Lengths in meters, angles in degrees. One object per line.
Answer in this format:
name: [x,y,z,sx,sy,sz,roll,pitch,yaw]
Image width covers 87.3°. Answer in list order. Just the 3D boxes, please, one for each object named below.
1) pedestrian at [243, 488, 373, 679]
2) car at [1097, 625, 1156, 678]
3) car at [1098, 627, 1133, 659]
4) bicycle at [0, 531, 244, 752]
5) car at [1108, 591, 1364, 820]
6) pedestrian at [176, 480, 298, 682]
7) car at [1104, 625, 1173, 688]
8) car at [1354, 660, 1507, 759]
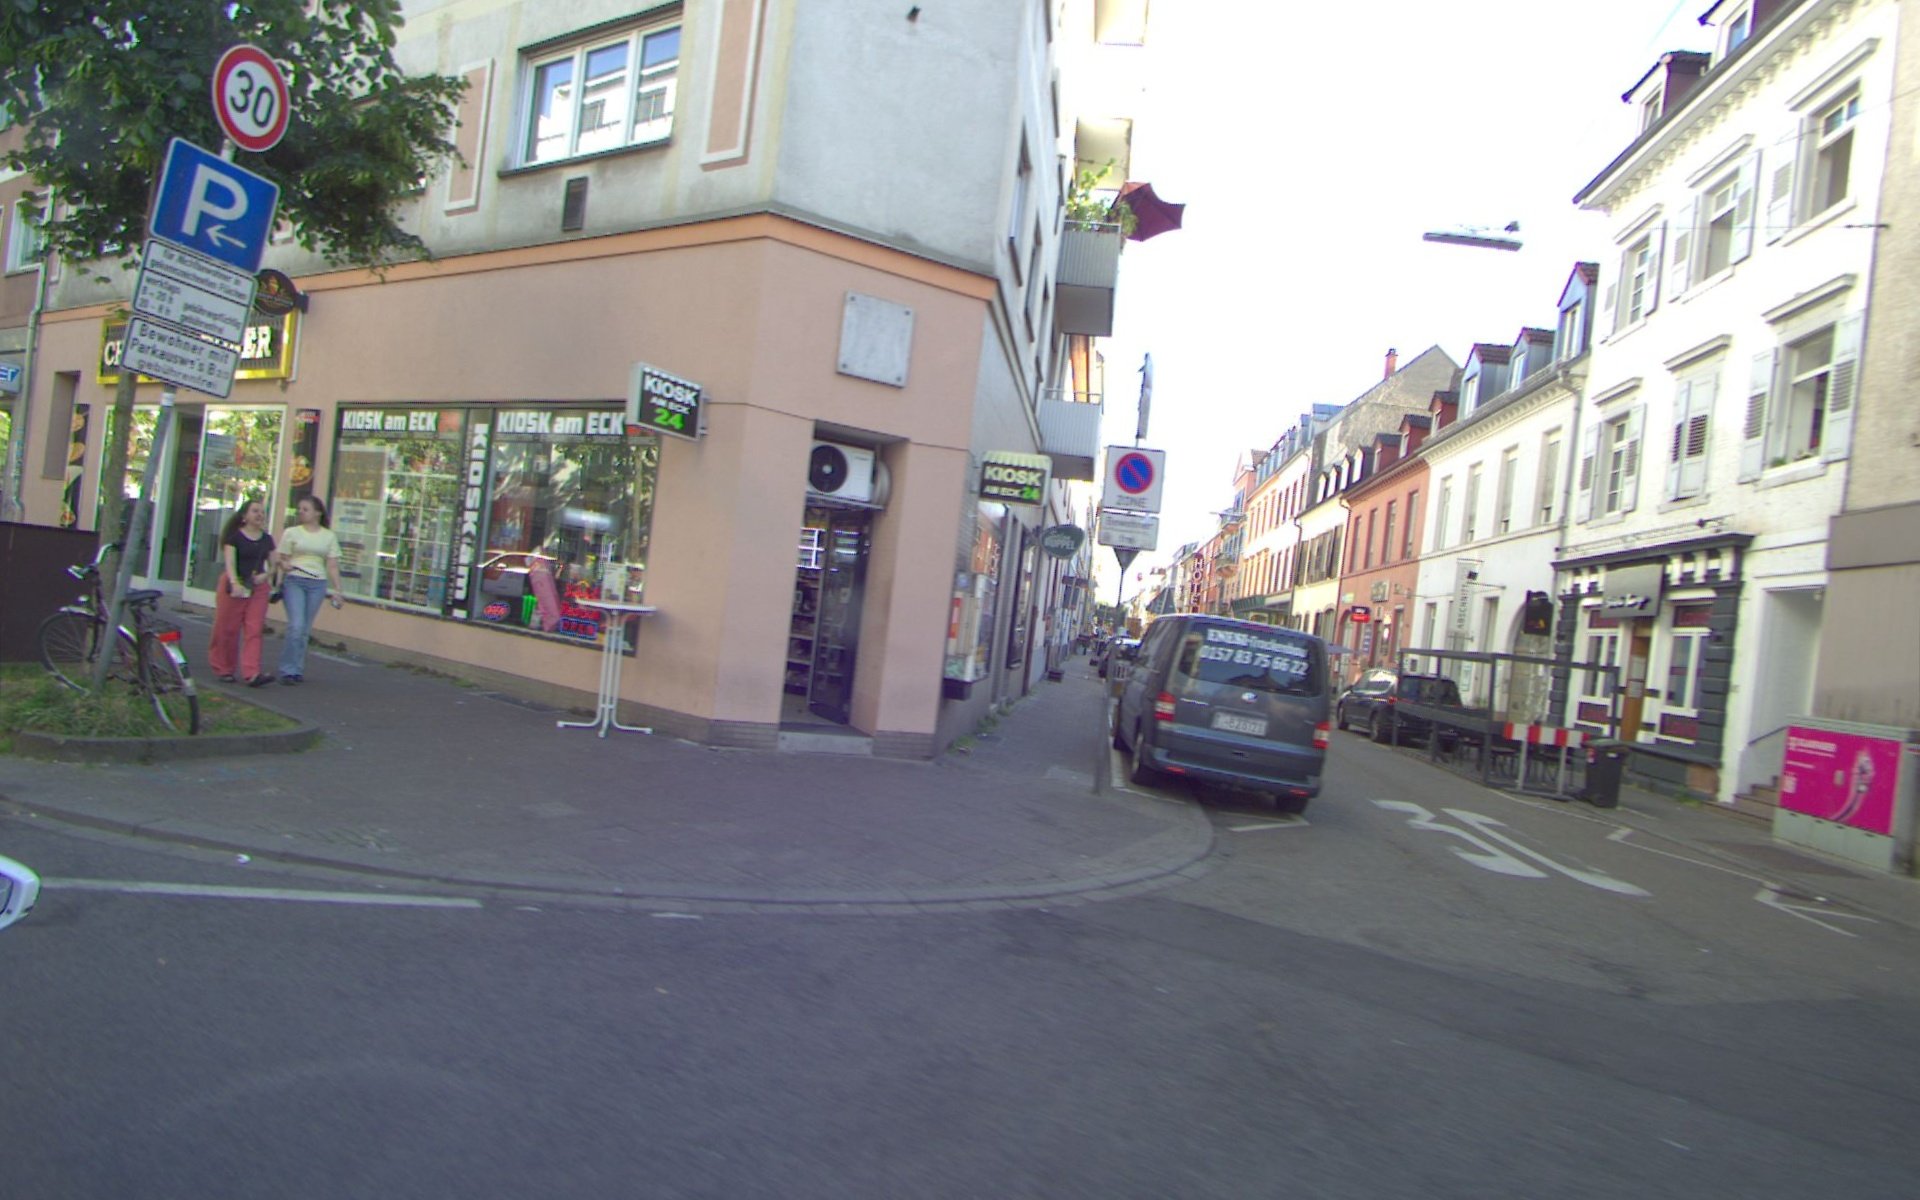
pedestrian: [-6.074,-0.143,9.378,0.736,1.666,0.642,7,2,31]
car: [6.288,1.960,38.222,1.905,1.663,3.826,7,-2,9]
car: [9.747,2.677,63.128,1.905,1.664,3.824,8,0,9]
bicycle: [-5.639,0.228,6.721,2.109,1.178,0.508,7,0,31]
car: [2.989,1.066,11.976,1.905,1.940,4.496,8,0,5]
pedestrian: [-6.360,-0.167,8.846,0.736,1.666,0.514,7,2,31]
car: [5.741,1.825,32.790,1.905,1.663,3.826,7,-2,9]
car: [10.626,2.404,23.065,1.905,1.664,4.054,8,0,9]
